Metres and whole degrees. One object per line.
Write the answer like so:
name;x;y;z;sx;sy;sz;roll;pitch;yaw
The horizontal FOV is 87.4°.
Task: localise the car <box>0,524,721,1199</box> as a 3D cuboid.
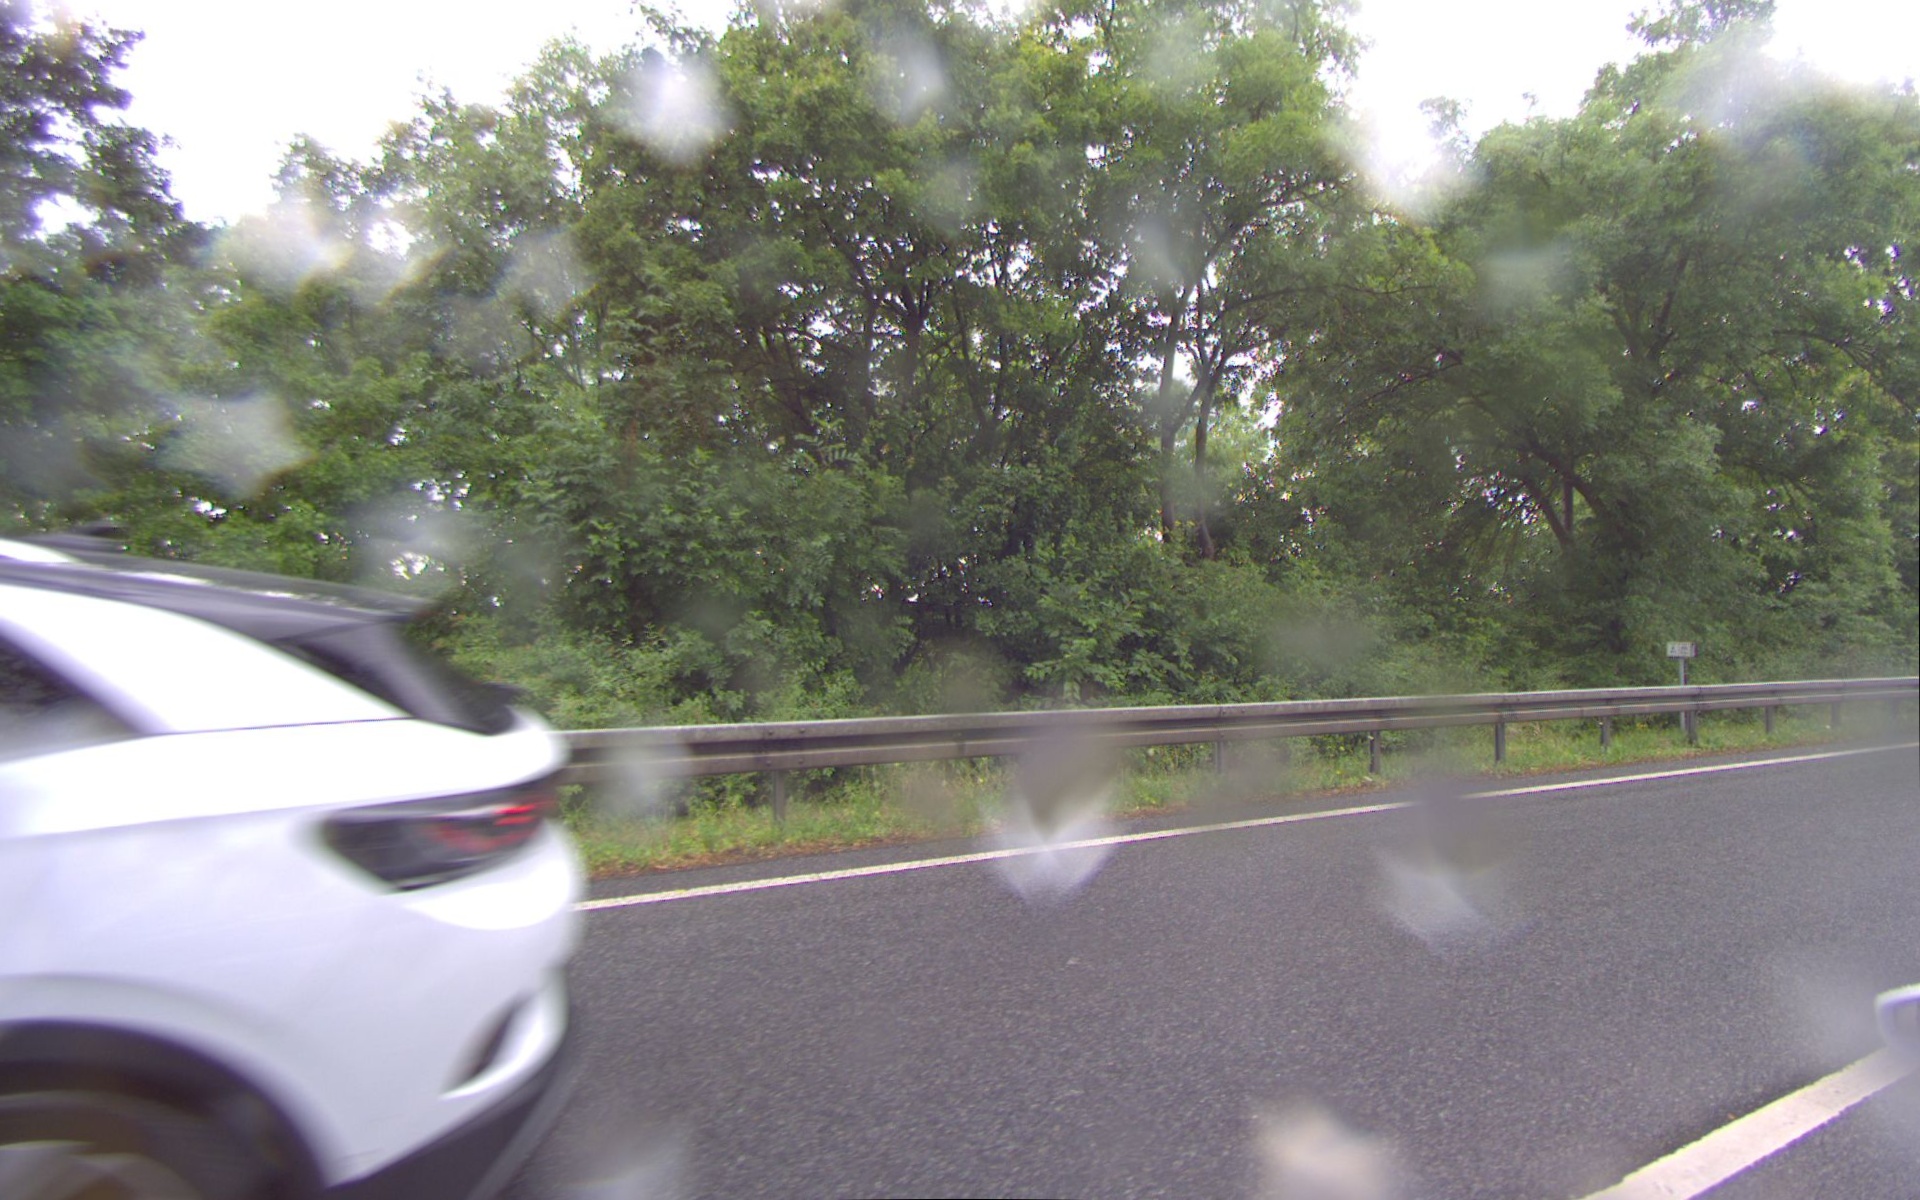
car;-2.707;0.651;1.680;4.157;1.552;1.798;1;-1;-30
